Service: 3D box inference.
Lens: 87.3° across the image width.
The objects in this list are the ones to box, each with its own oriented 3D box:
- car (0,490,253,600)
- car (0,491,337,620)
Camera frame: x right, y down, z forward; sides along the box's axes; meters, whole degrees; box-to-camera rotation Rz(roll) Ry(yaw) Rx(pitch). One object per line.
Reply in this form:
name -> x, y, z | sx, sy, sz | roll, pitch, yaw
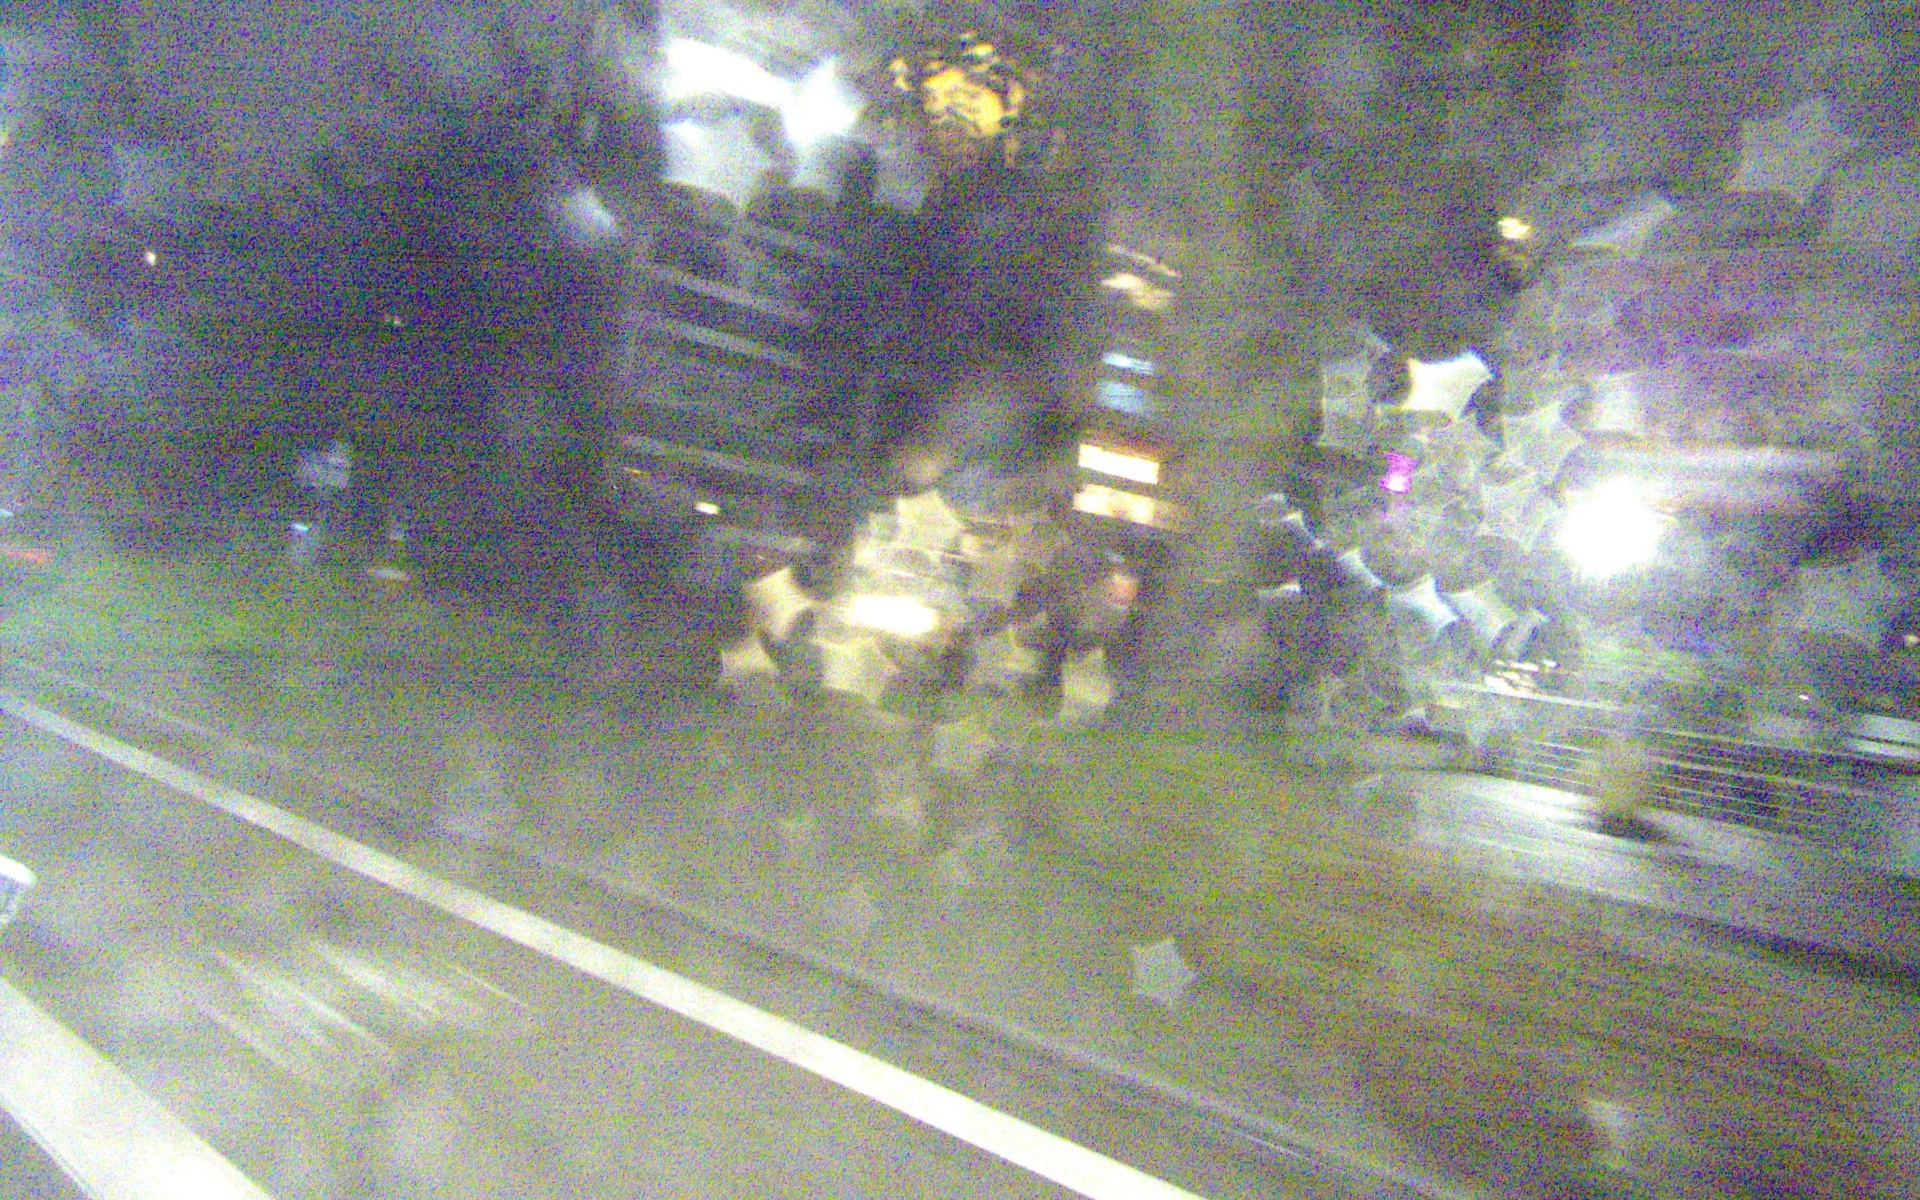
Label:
car -> -14.656, -0.908, 17.411 | 1.627, 1.537, 3.706 | 7, 0, 13
car -> -11.676, -0.564, 14.501 | 1.805, 1.494, 4.601 | 7, 0, 12
